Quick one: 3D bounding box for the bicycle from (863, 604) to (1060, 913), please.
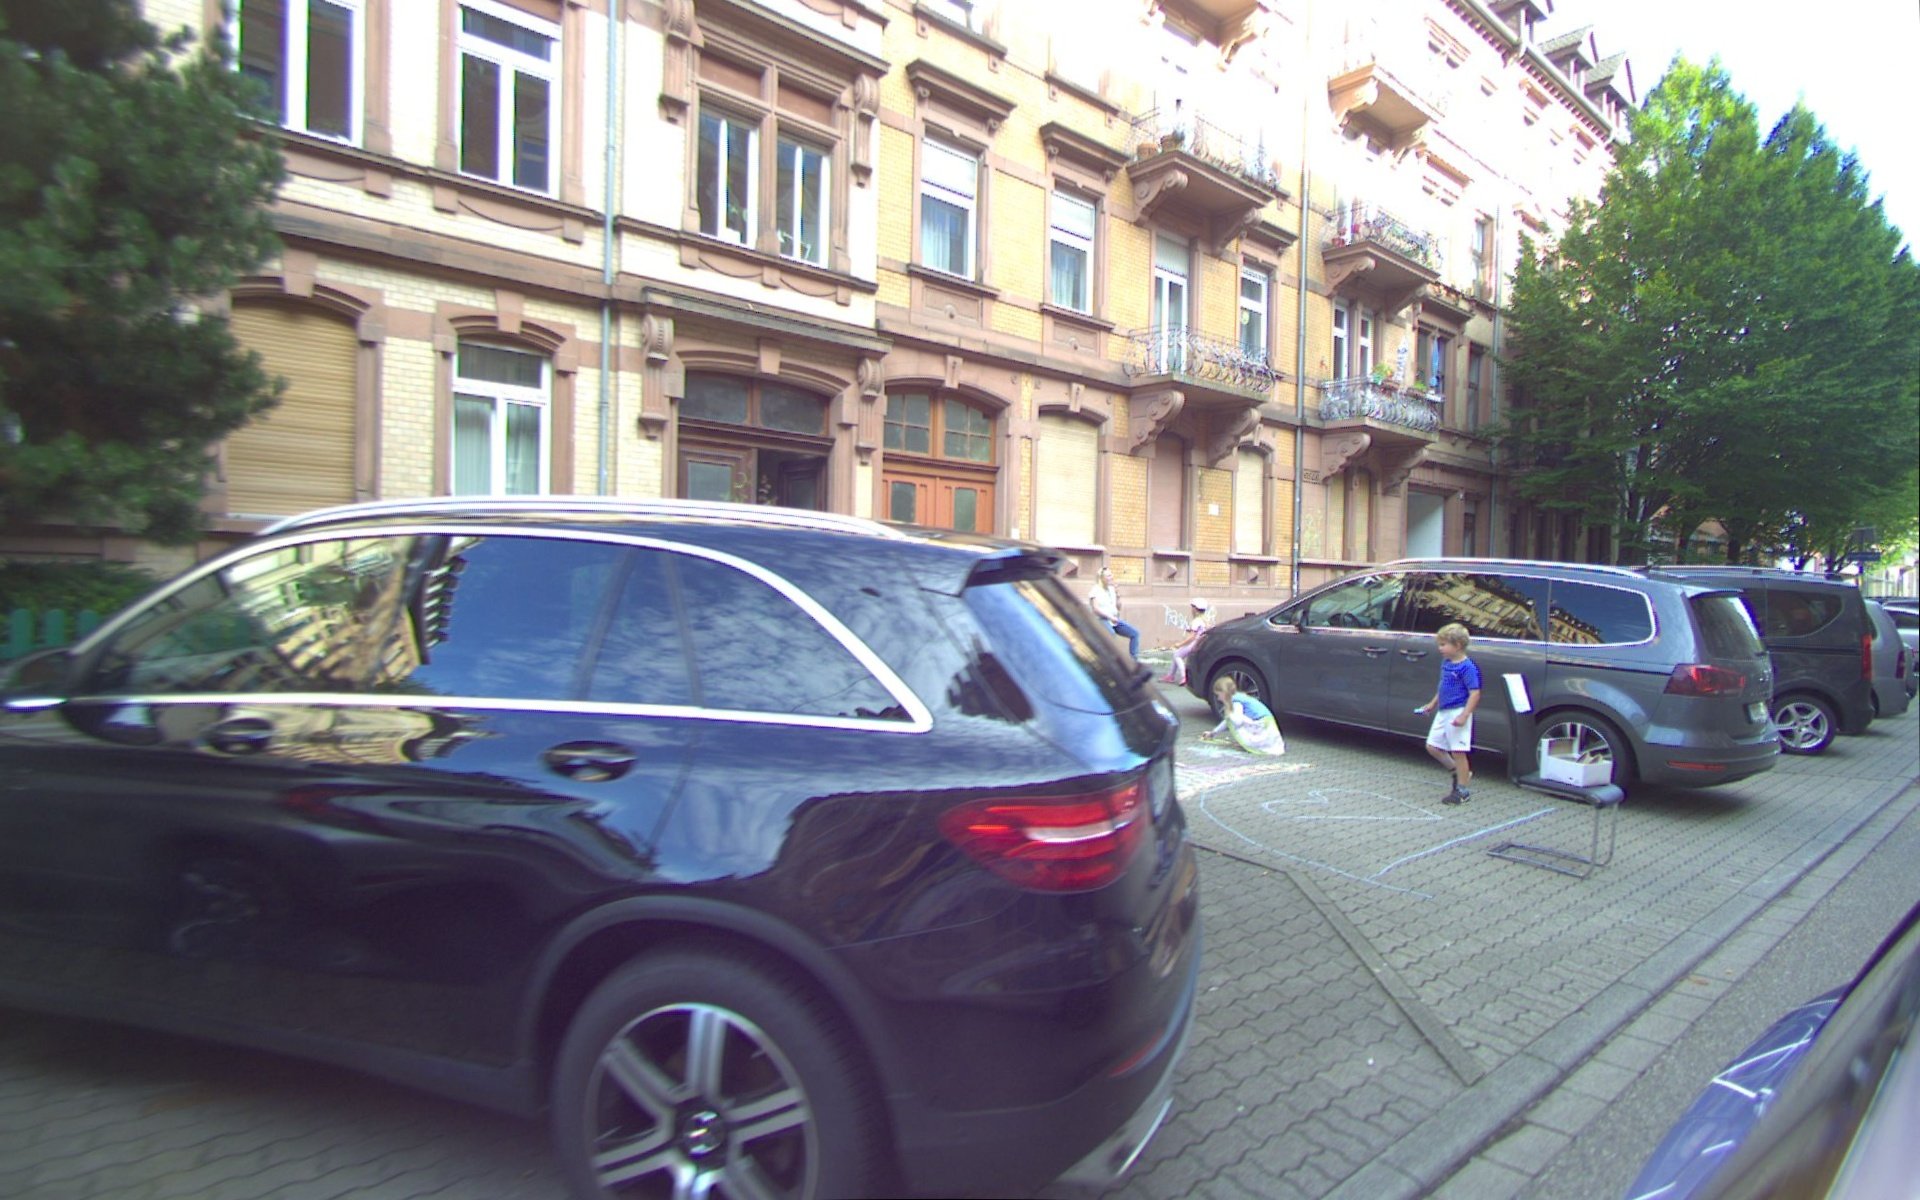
[{"bbox_3d":[0.084,0.646,5.044,0.400,1.197,1.857,2,2,18],"label":"bicycle"}]

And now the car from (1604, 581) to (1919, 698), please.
[{"bbox_3d":[13.063,0.579,16.445,3.948,1.468,1.727,4,4,18],"label":"car"}]

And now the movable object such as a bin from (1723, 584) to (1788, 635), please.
[{"bbox_3d":[26.560,0.293,33.789,1.144,1.476,1.375,0,8,-42],"label":"movable object such as a bin"}]

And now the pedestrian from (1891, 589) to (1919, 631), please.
[{"bbox_3d":[41.125,0.424,44.019,0.937,1.759,0.753,1,4,-45],"label":"pedestrian"}]

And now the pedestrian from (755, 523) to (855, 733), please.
[{"bbox_3d":[-1.309,0.224,8.532,0.621,1.680,0.574,1,-1,-40],"label":"pedestrian"}]

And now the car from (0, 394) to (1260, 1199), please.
[{"bbox_3d":[-1.377,0.499,3.246,4.394,1.754,1.990,1,0,15],"label":"car"}]

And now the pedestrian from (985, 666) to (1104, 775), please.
[{"bbox_3d":[0.603,0.846,7.265,0.684,0.672,0.490,0,3,-23],"label":"pedestrian"}]

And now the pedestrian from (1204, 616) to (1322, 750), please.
[{"bbox_3d":[2.542,0.666,8.502,0.674,1.033,0.641,1,2,-35],"label":"pedestrian"}]

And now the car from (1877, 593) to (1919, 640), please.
[{"bbox_3d":[36.080,0.697,35.950,4.745,1.562,1.860,3,3,18],"label":"car"}]

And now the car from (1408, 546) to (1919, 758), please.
[{"bbox_3d":[7.417,0.432,11.079,4.347,1.844,1.745,3,3,19],"label":"car"}]

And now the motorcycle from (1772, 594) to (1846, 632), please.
[{"bbox_3d":[32.112,0.471,38.288,0.813,1.241,1.983,1,5,-42],"label":"motorcycle"}]

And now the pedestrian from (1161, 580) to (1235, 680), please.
[{"bbox_3d":[3.093,0.378,13.168,0.661,1.234,0.602,1,3,-41],"label":"pedestrian"}]

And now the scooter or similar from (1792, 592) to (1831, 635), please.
[{"bbox_3d":[28.252,0.453,33.584,1.294,1.397,0.525,0,0,-26],"label":"scooter or similar"}]

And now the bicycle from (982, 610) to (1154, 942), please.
[{"bbox_3d":[0.585,0.683,4.833,0.400,1.197,1.907,2,2,18],"label":"bicycle"}]

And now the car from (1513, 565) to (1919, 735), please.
[{"bbox_3d":[9.371,0.523,12.673,3.950,1.762,1.828,3,2,20],"label":"car"}]

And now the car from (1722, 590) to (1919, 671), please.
[{"bbox_3d":[19.287,0.652,21.469,4.552,1.469,1.783,3,2,18],"label":"car"}]

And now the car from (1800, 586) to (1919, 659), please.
[{"bbox_3d":[23.998,0.580,25.459,3.943,1.720,1.844,2,0,15],"label":"car"}]

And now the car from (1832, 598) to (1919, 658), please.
[{"bbox_3d":[26.280,0.742,27.058,4.064,1.540,1.837,0,1,14],"label":"car"}]

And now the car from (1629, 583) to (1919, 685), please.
[{"bbox_3d":[14.691,0.553,18.186,3.942,1.478,1.880,3,3,14],"label":"car"}]

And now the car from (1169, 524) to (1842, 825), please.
[{"bbox_3d":[4.264,0.371,8.639,1.778,1.807,4.647,3,2,-41],"label":"car"}]

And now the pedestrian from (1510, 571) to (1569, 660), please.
[{"bbox_3d":[11.204,0.274,19.578,0.819,1.654,0.732,-1,3,-43],"label":"pedestrian"}]

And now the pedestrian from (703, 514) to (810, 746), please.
[{"bbox_3d":[-1.569,0.220,7.887,0.637,1.716,0.698,0,0,6],"label":"pedestrian"}]

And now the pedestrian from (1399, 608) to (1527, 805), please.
[{"bbox_3d":[3.443,0.717,6.960,0.498,1.266,0.473,3,4,-11],"label":"pedestrian"}]

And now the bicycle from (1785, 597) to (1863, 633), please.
[{"bbox_3d":[31.862,0.541,37.341,0.806,1.108,2.025,1,5,-40],"label":"bicycle"}]

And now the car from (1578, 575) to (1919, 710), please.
[{"bbox_3d":[11.382,0.544,14.374,3.940,1.567,1.862,4,2,13],"label":"car"}]

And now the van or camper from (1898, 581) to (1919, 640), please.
[{"bbox_3d":[37.929,0.400,37.640,3.950,2.206,1.987,0,0,20],"label":"van or camper"}]

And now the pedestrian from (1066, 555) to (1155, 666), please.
[{"bbox_3d":[2.150,0.132,14.435,0.927,1.515,0.799,3,1,43],"label":"pedestrian"}]

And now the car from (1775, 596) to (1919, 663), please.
[{"bbox_3d":[21.858,0.690,23.530,4.078,1.435,1.860,2,0,15],"label":"car"}]

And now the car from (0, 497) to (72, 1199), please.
[{"bbox_3d":[-4.071,0.546,1.718,4.177,1.569,1.864,1,-1,15],"label":"car"}]
